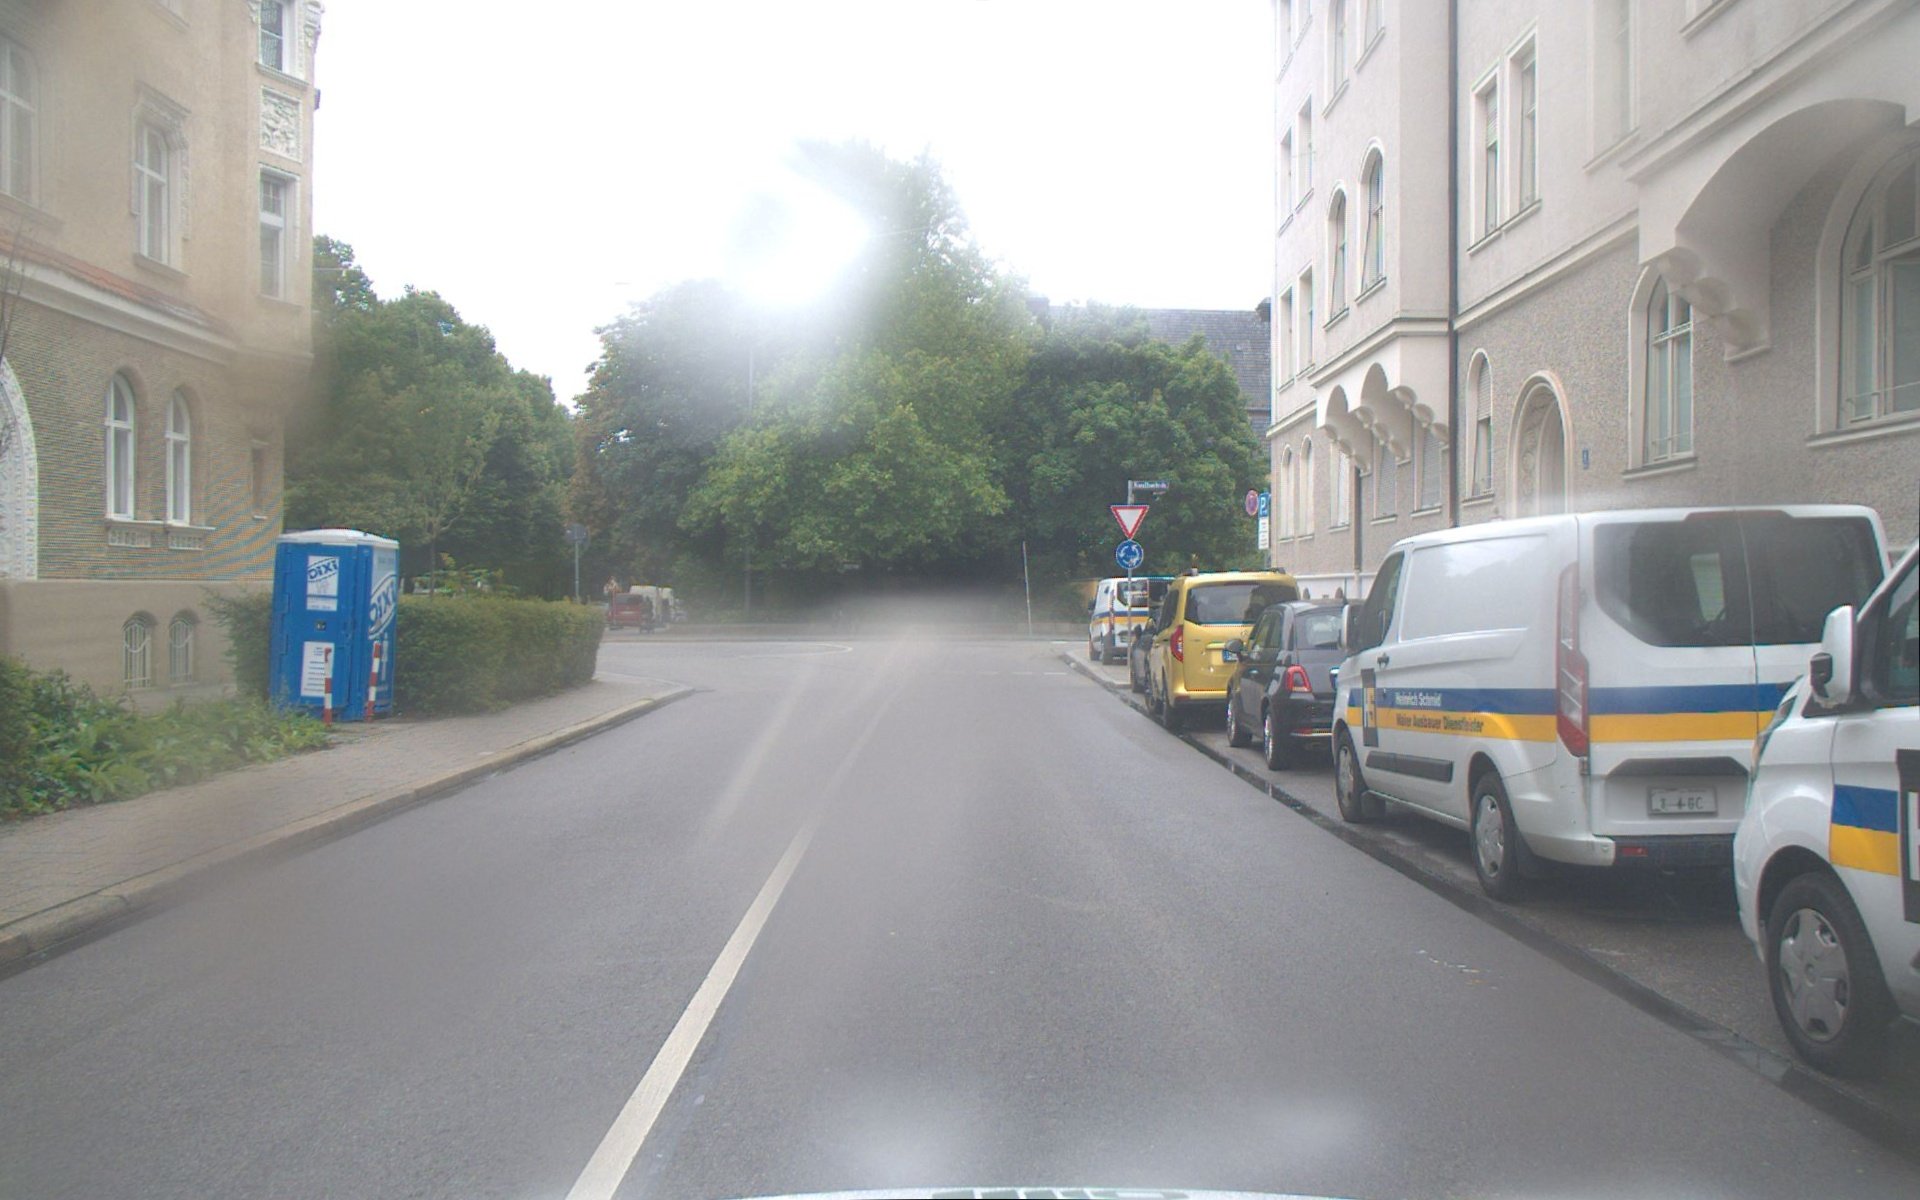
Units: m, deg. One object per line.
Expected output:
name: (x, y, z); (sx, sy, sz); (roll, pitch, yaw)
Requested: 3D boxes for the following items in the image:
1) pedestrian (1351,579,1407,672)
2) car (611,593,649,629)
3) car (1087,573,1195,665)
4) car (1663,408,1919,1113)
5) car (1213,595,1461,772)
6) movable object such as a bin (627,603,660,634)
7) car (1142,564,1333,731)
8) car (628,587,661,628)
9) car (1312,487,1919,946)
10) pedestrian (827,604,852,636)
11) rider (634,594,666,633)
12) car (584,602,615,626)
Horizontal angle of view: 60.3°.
pedestrian: (8.162, 0.495, 32.217); (0.688, 1.767, 0.724); (-1, -3, -45)
car: (-18.259, 0.597, 91.617); (2.005, 1.956, 4.434); (0, 0, -11)
car: (4.182, 0.413, 38.997); (1.877, 1.996, 4.926); (-1, 0, -1)
car: (3.780, 0.461, 3.949); (1.920, 2.049, 4.991); (0, 0, -2)
car: (3.543, 0.722, 16.152); (1.598, 1.510, 3.784); (0, 0, 1)
movable object such as a bin: (-13.806, 0.791, 72.225); (1.055, 1.289, 1.087); (-3, 0, 7)
car: (3.404, 0.533, 21.107); (1.812, 1.885, 4.822); (0, 0, 2)
car: (-20.436, 0.467, 107.215); (2.004, 2.603, 5.235); (0, 0, -10)
car: (3.640, 0.493, 9.661); (1.920, 1.971, 4.991); (0, 0, -2)
pedestrian: (-4.532, 0.742, 62.239); (0.794, 1.210, 0.920); (0, 0, 6)
rider: (-13.700, 0.590, 73.114); (1.059, 1.696, 1.140); (-3, 0, 7)
car: (-22.762, 0.866, 104.427); (1.756, 1.518, 3.990); (0, 0, -10)
